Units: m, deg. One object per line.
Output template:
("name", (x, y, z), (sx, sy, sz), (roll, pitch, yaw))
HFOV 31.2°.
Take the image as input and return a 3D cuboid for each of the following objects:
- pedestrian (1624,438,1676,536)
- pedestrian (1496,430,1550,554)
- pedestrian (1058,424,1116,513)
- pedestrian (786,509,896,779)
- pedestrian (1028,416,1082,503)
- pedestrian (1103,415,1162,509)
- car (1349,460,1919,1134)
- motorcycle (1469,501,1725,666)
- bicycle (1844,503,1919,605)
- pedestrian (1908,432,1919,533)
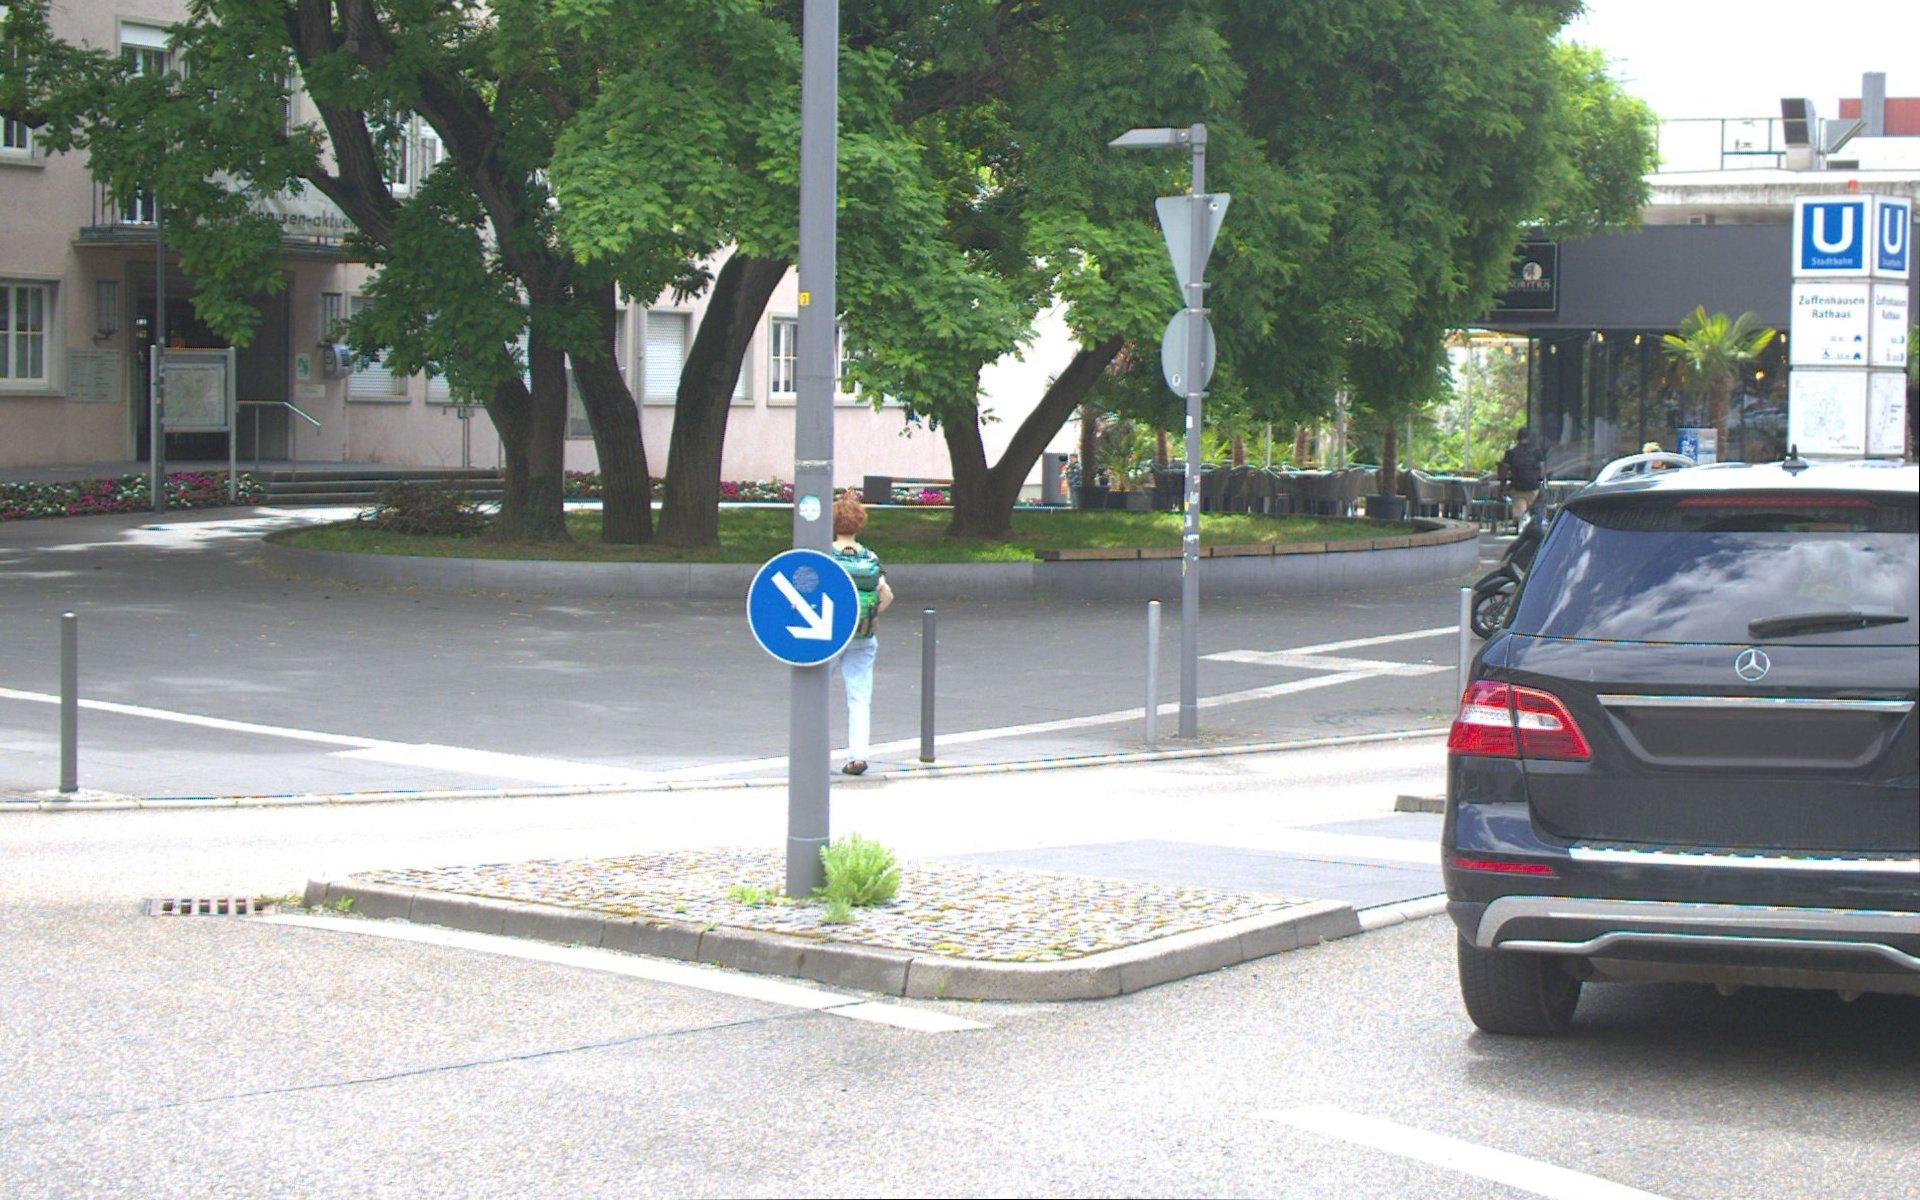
("pedestrian", (9.773, -1.599, 48.706), (0.582, 1.375, 0.615), (2, 2, 24))
("pedestrian", (7.224, -1.381, 44.109), (0.614, 1.571, 0.582), (1, 2, 14))
("pedestrian", (2.271, -2.357, 61.489), (0.787, 1.571, 0.635), (2, 2, 35))
("pedestrian", (-0.695, 0.242, 20.192), (0.550, 1.509, 0.788), (1, 4, 4))
("pedestrian", (1.750, -2.585, 63.225), (0.636, 1.571, 0.787), (2, 2, 36))
("pedestrian", (2.995, -2.392, 59.669), (0.787, 1.622, 0.635), (2, 2, 35))
("car", (2.841, 0.447, 11.014), (2.030, 1.721, 4.428), (1, 2, 22))
("motorcycle", (5.541, -0.165, 30.001), (2.137, 1.284, 0.582), (4, 6, 38))
("bicycle", (9.729, -0.453, 34.436), (1.615, 0.994, 0.499), (3, 3, 42))
("pedestrian", (14.173, -1.694, 49.817), (0.582, 1.458, 0.614), (3, 2, 44))
